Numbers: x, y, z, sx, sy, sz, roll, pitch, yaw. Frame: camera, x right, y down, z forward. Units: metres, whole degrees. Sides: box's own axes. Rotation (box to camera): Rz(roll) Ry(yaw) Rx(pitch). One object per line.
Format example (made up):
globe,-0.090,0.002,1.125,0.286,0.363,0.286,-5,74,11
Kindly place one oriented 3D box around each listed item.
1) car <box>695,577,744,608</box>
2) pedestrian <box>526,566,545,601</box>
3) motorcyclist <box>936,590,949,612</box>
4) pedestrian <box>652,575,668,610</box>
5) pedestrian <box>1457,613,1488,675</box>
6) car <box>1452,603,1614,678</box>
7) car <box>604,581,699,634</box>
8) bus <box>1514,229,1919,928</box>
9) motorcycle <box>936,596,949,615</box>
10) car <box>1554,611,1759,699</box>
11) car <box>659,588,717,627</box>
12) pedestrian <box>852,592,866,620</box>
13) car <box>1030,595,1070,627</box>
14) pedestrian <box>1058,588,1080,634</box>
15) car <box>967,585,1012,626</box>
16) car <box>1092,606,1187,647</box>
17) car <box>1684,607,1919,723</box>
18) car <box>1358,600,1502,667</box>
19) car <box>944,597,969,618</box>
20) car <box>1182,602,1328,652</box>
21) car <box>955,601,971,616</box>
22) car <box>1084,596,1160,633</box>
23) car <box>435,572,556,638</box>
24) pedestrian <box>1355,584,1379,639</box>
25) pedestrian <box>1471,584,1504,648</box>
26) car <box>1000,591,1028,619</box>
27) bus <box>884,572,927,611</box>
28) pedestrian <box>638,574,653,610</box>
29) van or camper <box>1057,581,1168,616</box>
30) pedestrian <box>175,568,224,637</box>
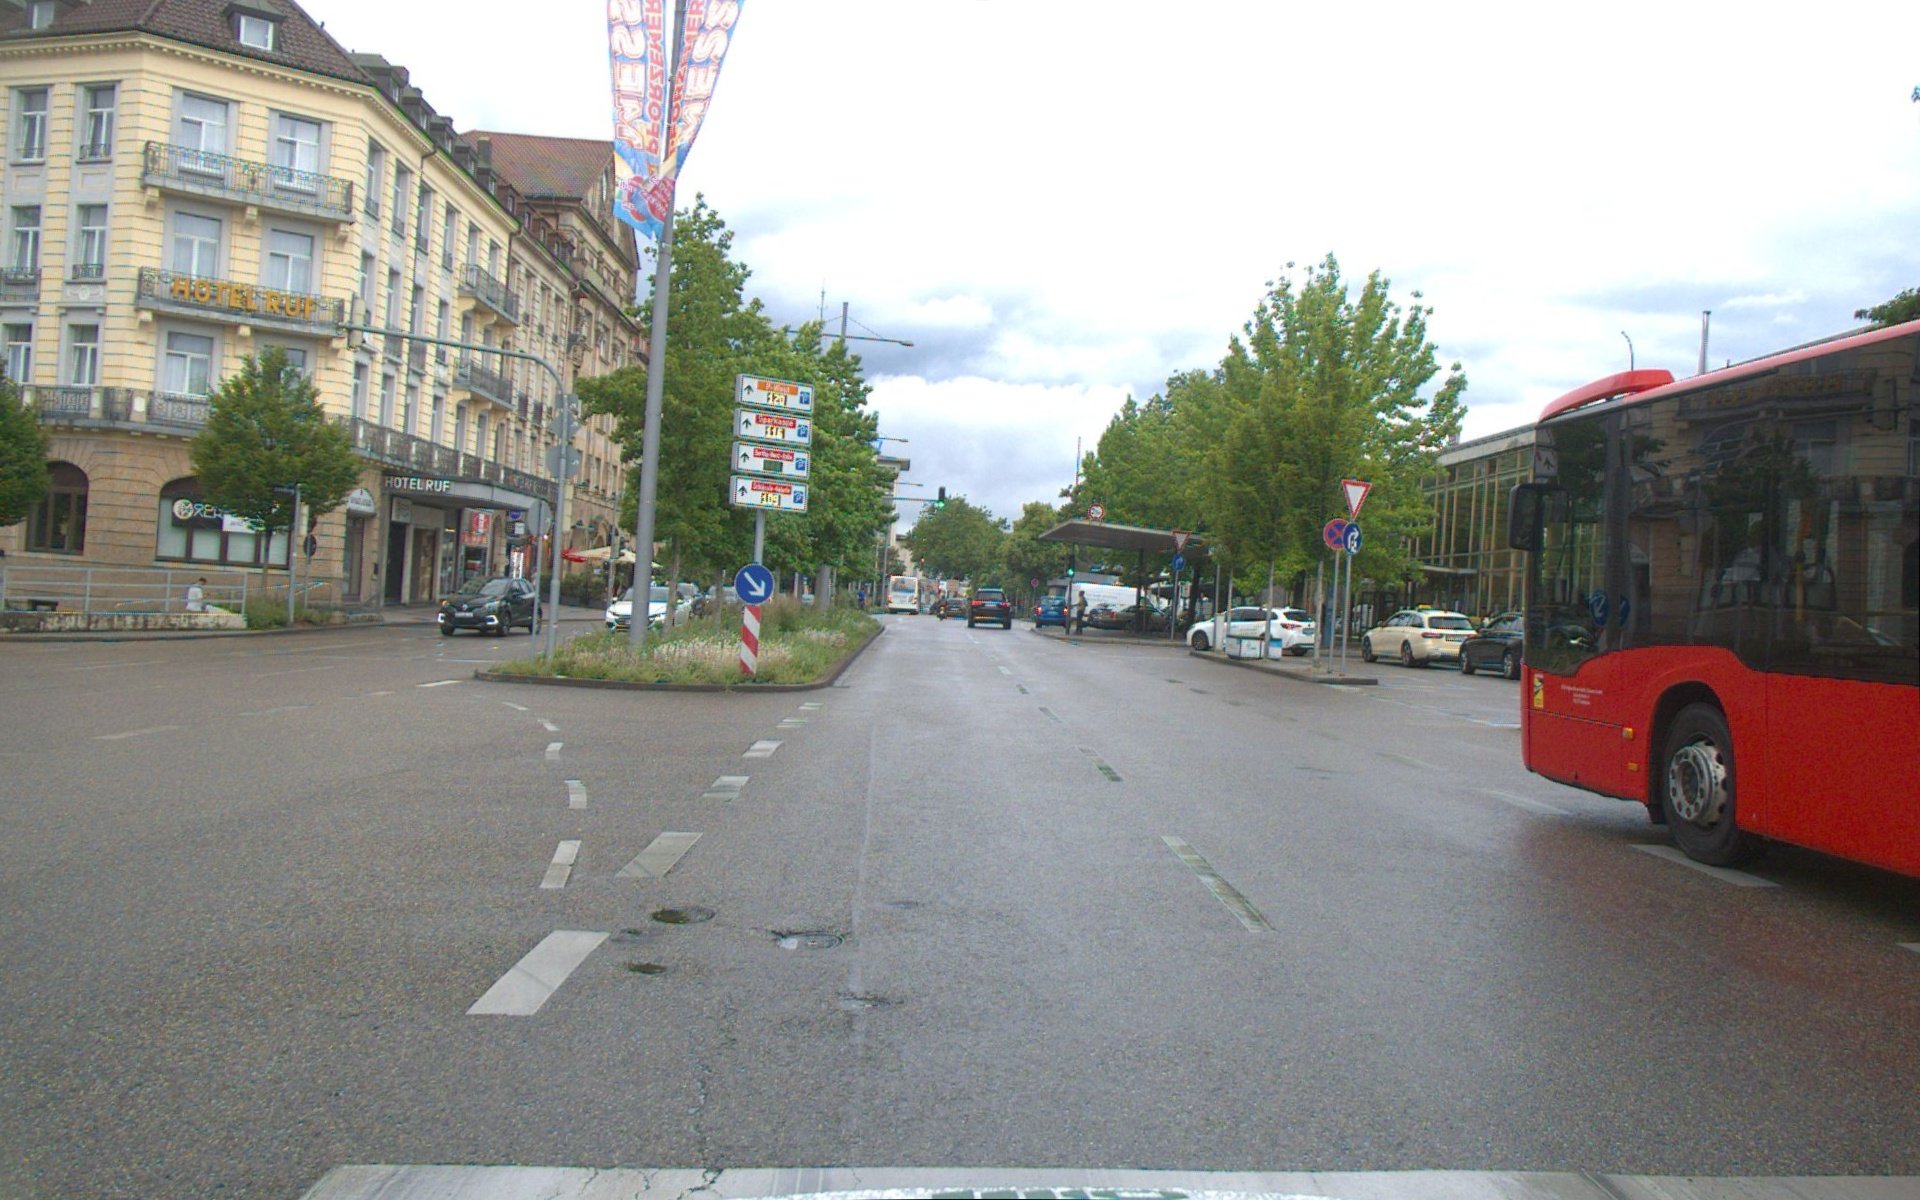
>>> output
car,-11.958,-0.368,82.314,1.718,1.466,4.060,1,0,1
pedestrian,-19.101,-0.753,74.481,0.656,1.537,0.512,2,0,-39
motorcyclist,-1.088,0.056,102.416,0.749,1.355,0.866,2,0,-1
pedestrian,-14.892,-0.363,82.169,0.661,1.731,0.633,1,0,-1
pedestrian,14.786,1.264,47.718,0.553,1.739,0.715,2,0,-6
car,13.055,0.887,37.999,1.875,1.551,4.740,1,0,-3
car,-8.879,0.200,47.924,1.688,1.406,4.860,1,0,1
bus,5.788,-0.076,7.358,2.688,3.229,10.188,1,0,-3
motorcycle,-1.099,0.339,102.418,0.750,1.095,2.175,2,0,-1
car,13.245,0.992,31.779,1.809,1.477,4.664,1,0,-2
car,-11.145,0.293,67.979,1.597,1.502,4.027,1,0,2
pedestrian,-6.290,0.348,103.506,0.742,1.730,0.560,2,0,6
car,4.625,0.549,85.459,1.779,1.557,3.999,1,0,-1
pedestrian,4.394,0.449,66.621,0.705,1.822,0.663,2,0,-12
car,1.351,0.220,77.701,1.953,1.837,4.689,1,0,-1
car,8.946,1.310,82.394,4.273,1.890,1.988,2,0,-21
car,13.375,0.949,26.062,1.739,1.617,4.614,1,0,-2
car,12.554,0.854,44.476,1.956,1.628,4.814,1,0,-8
car,-0.263,0.551,119.637,1.673,1.473,3.999,1,0,-1
car,9.096,0.816,51.191,1.764,1.409,4.303,1,0,-41
car,0.294,0.918,177.889,1.673,1.500,3.999,1,0,-1
car,9.471,0.854,96.780,3.929,2.049,1.988,2,0,-21
car,-12.607,0.092,45.165,1.734,1.557,4.082,3,2,6
pedestrian,18.221,0.503,74.009,0.825,2.453,0.862,1,0,1
pedestrian,17.301,0.519,54.255,0.754,2.049,0.828,1,0,-3
car,3.802,0.316,117.004,1.752,1.892,3.999,1,0,-1
bus,-4.943,-0.773,150.675,3.684,3.265,15.520,1,0,-2
pedestrian,-15.614,-0.394,82.151,0.563,1.762,0.609,2,0,-1
van or camper,9.523,-0.076,103.034,6.675,2.049,2.364,1,-1,-27
pedestrian,-21.299,0.068,46.322,0.845,1.911,1.022,2,0,-1
